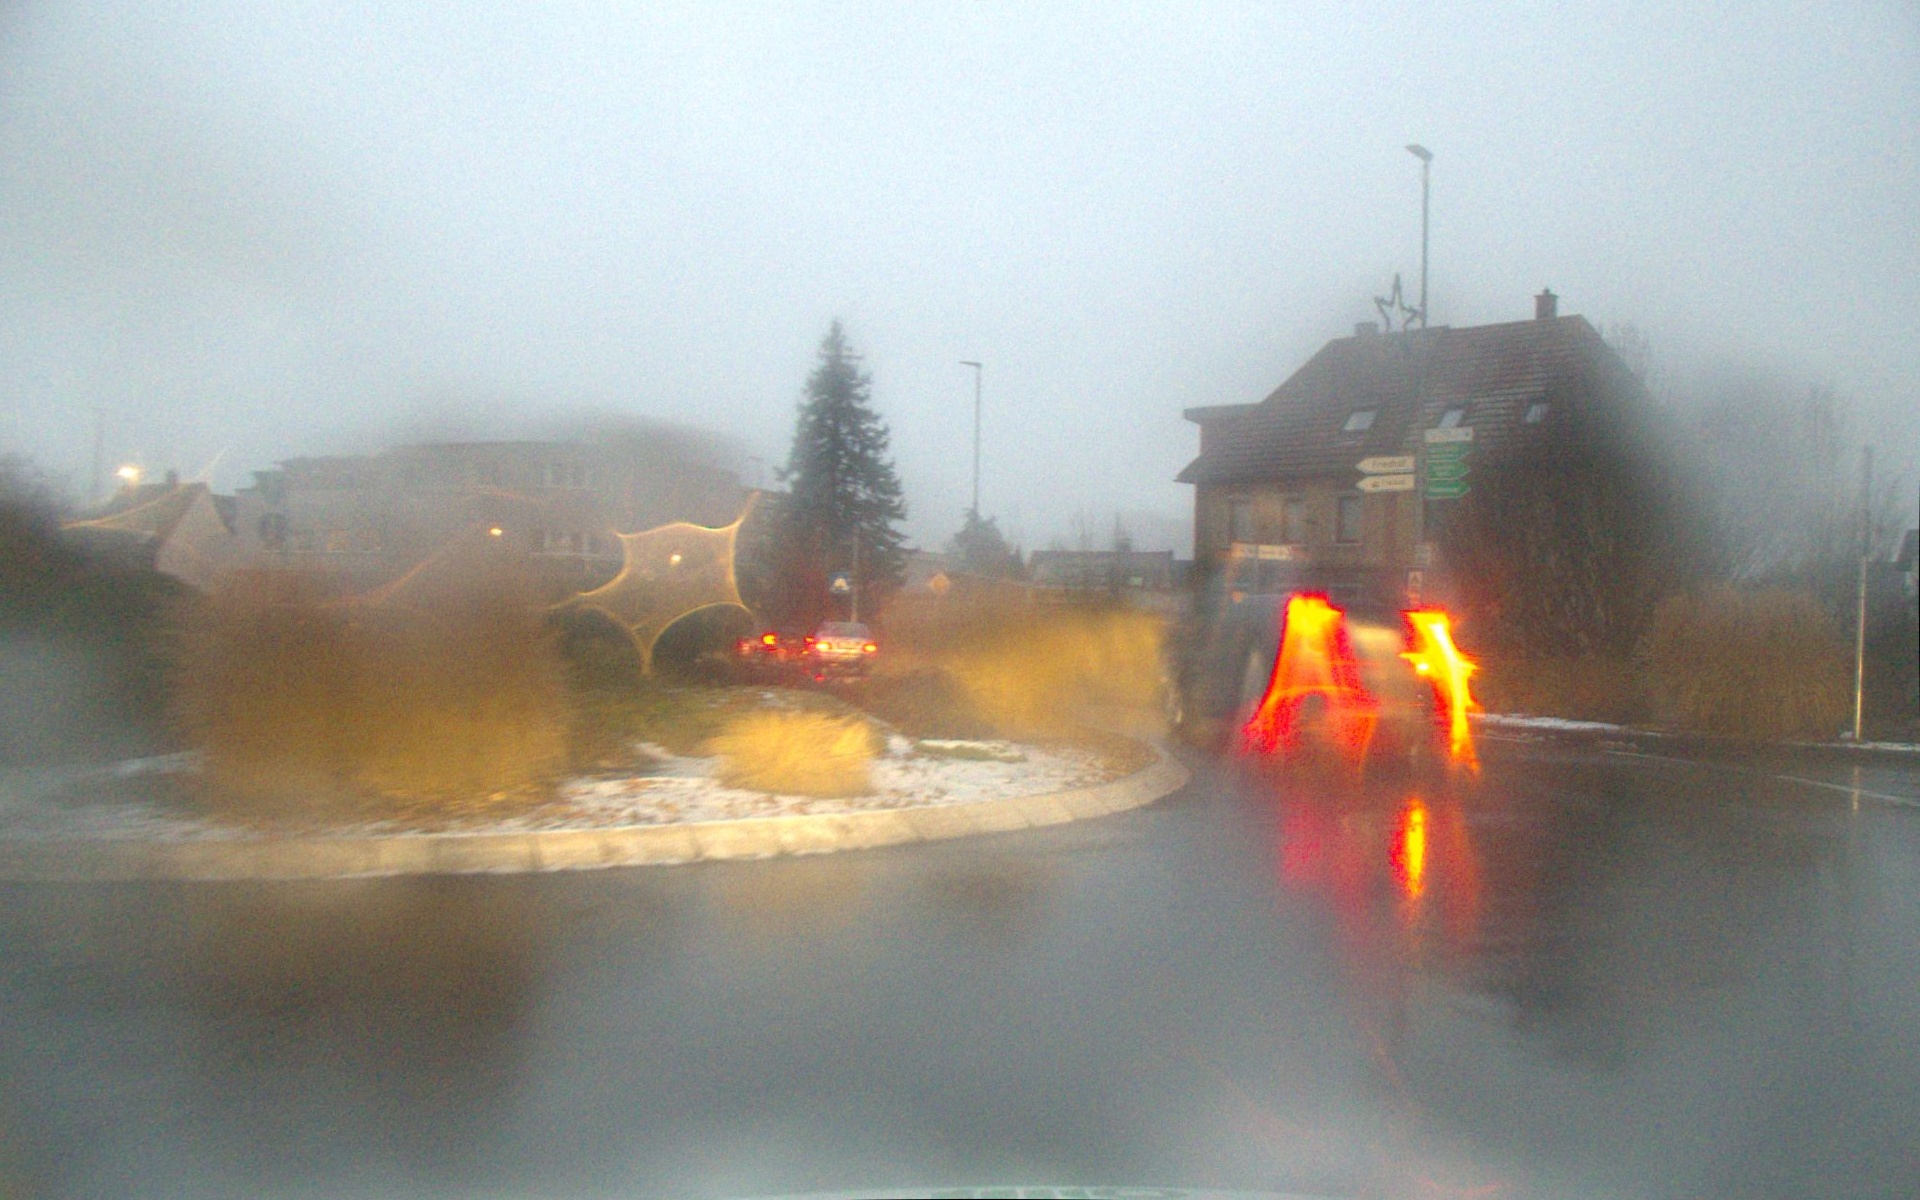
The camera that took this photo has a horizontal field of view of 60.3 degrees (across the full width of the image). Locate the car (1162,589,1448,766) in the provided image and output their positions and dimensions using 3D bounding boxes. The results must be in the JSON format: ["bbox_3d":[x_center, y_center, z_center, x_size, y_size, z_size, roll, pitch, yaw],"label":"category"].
[{"bbox_3d":[3.740,0.793,18.684,1.908,1.748,3.992,2,0,-8],"label":"car"}]

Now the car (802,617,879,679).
[{"bbox_3d":[-3.437,1.376,47.025,1.847,1.643,4.562,1,-2,-8],"label":"car"}]

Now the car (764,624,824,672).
[{"bbox_3d":[-5.728,1.662,56.802,1.847,1.575,4.562,1,-2,-8],"label":"car"}]

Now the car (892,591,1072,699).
[{"bbox_3d":[0.289,0.733,29.547,2.127,1.719,4.555,1,1,-14],"label":"car"}]
